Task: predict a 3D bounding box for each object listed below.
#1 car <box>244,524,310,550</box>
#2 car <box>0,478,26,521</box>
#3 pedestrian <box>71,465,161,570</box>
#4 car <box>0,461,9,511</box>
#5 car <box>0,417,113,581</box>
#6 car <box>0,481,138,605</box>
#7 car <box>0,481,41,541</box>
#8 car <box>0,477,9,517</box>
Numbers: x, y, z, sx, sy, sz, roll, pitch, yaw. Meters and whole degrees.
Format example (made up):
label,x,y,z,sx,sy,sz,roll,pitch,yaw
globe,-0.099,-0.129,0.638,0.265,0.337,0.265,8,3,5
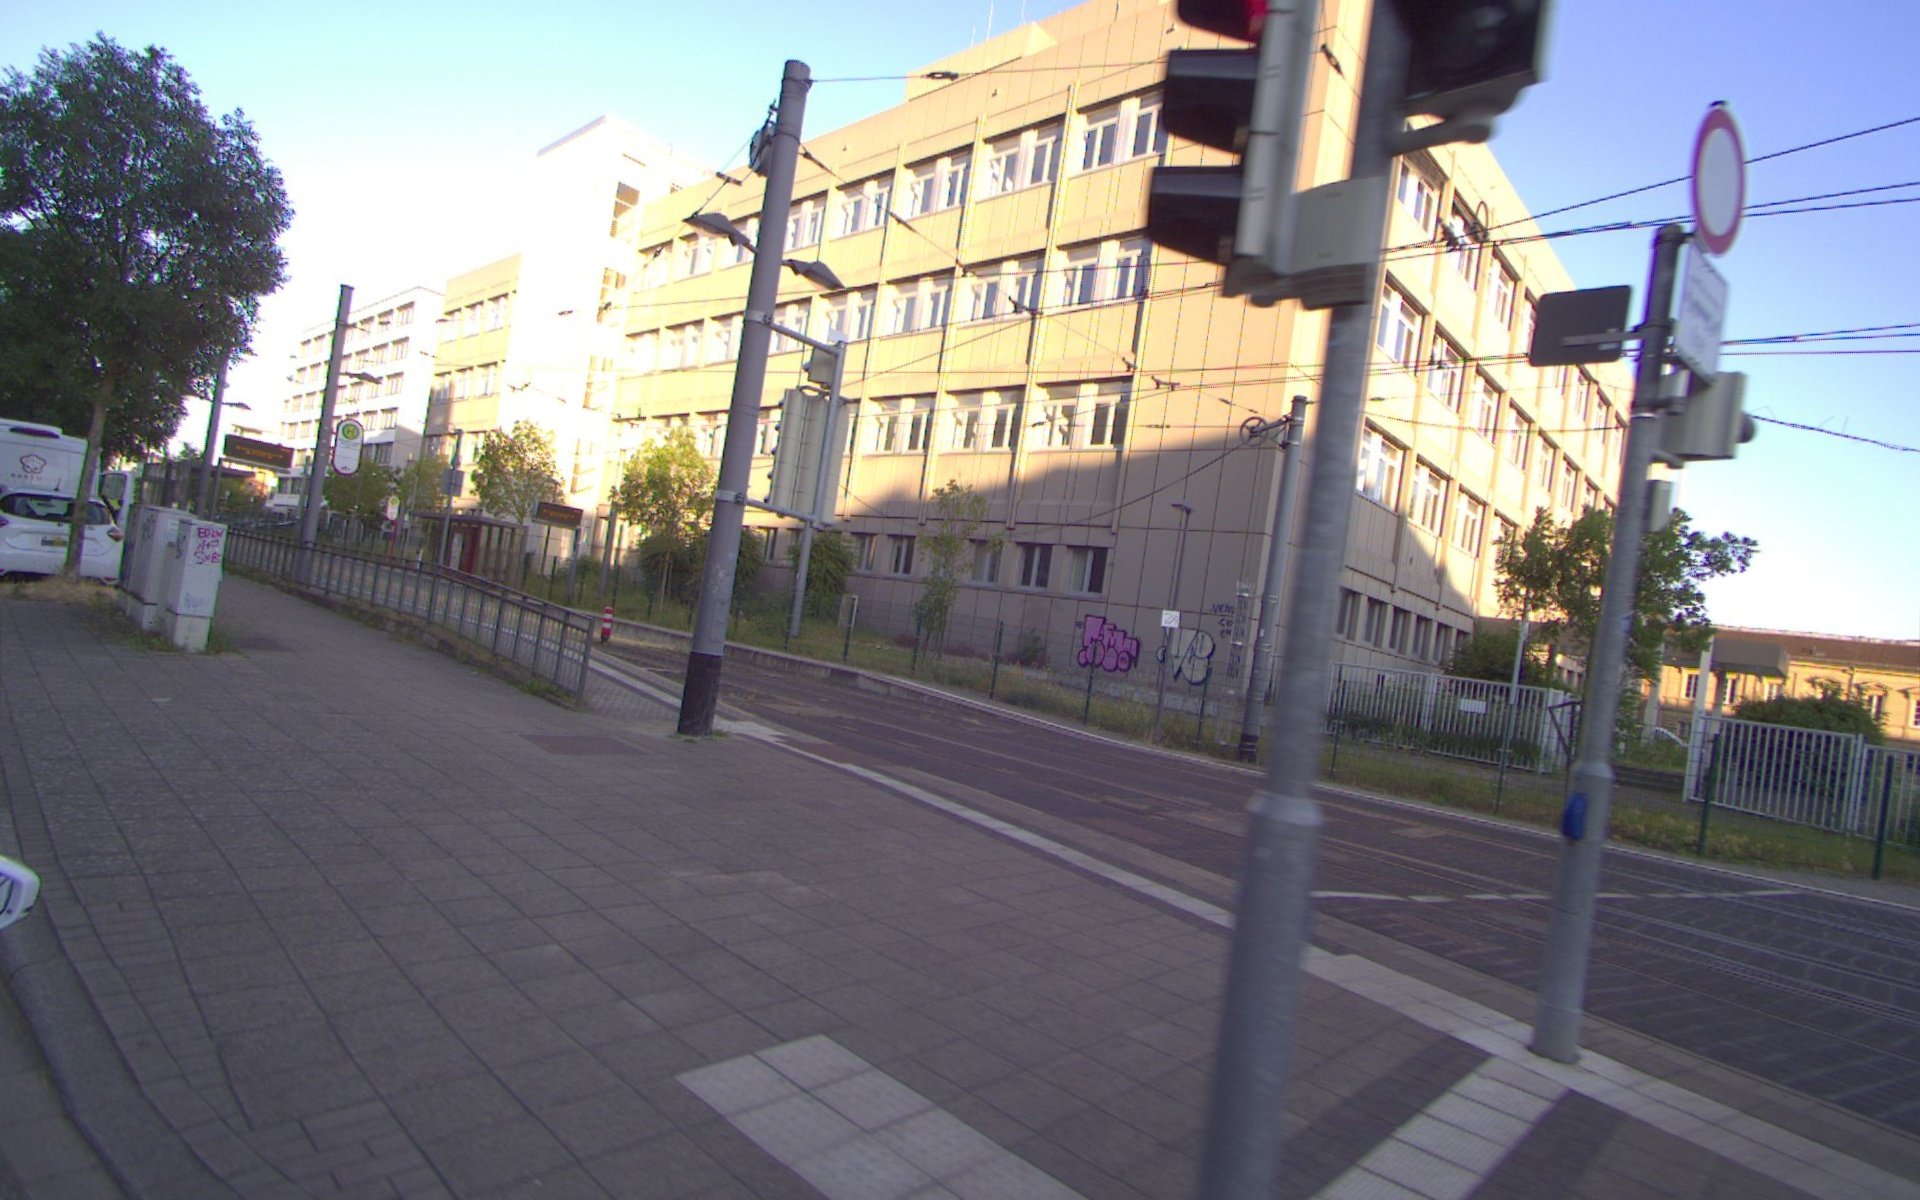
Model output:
label,x,y,z,sx,sy,sz,roll,pitch,yaw
car,-54.281,-5.001,79.996,1.654,1.505,3.978,7,-1,44
car,-37.675,-4.030,39.073,4.075,1.511,1.705,7,-1,43
pedestrian,-17.980,-1.735,21.457,0.793,2.036,0.980,9,-1,-1
car,-45.702,-5.449,46.754,4.672,2.202,1.801,7,-1,43
car,-18.281,-2.005,19.492,5.360,2.691,2.046,7,1,43
car,-14.439,-0.975,15.804,3.958,1.603,1.744,7,1,43
car,-27.549,-2.643,28.648,1.791,1.515,4.719,6,1,-45
car,-41.459,-4.515,42.485,1.703,1.599,4.422,8,-1,-45
